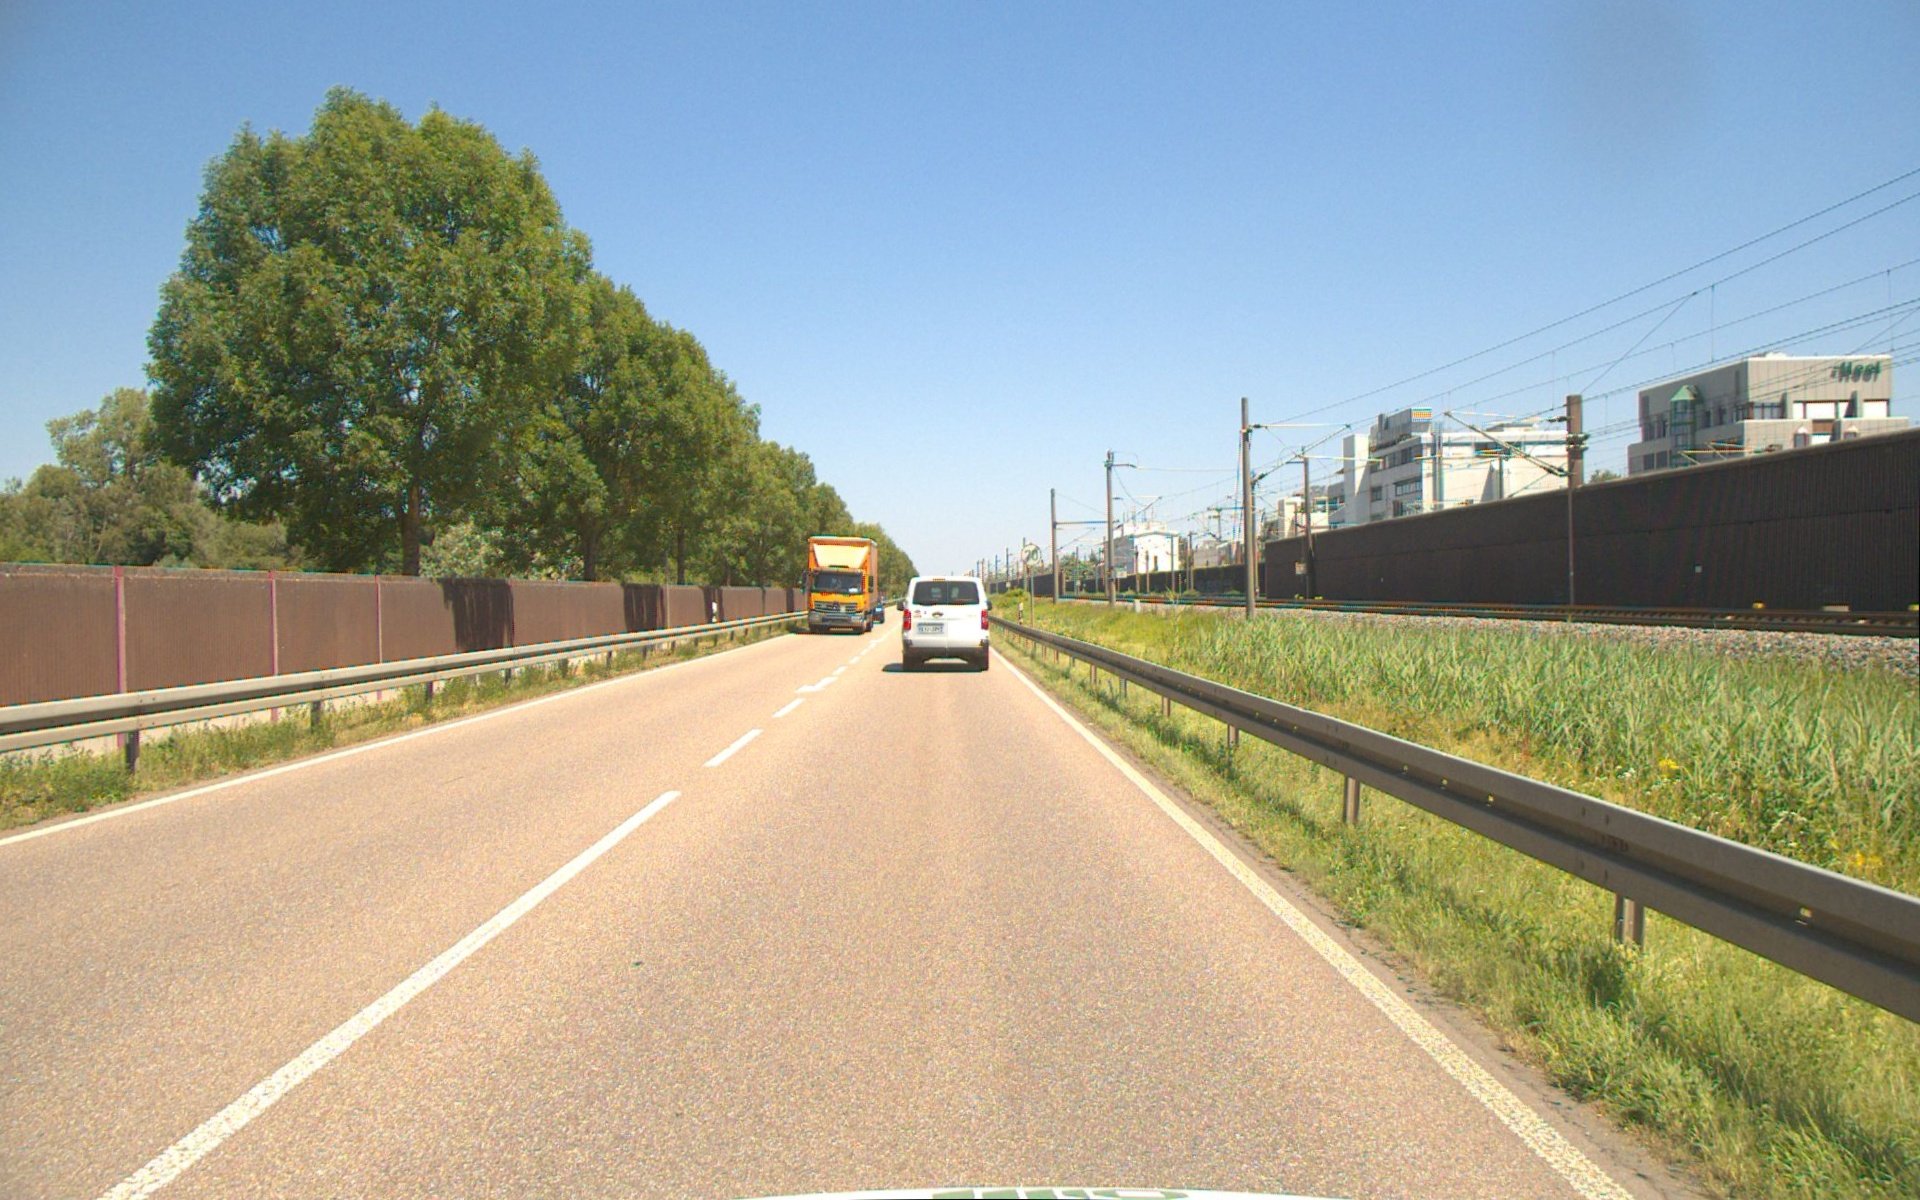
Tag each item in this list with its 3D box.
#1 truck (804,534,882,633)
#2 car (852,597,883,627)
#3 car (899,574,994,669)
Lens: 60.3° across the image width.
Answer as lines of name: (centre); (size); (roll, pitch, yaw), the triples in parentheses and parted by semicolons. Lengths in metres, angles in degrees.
truck: (-4.851, -0.668, 70.242); (2.735, 3.907, 9.322); (0, 0, -1)
car: (-5.342, 0.673, 95.623); (1.589, 1.605, 3.762); (0, 1, -1)
car: (-0.309, 0.439, 35.856); (1.906, 1.914, 4.880); (0, 0, -1)
